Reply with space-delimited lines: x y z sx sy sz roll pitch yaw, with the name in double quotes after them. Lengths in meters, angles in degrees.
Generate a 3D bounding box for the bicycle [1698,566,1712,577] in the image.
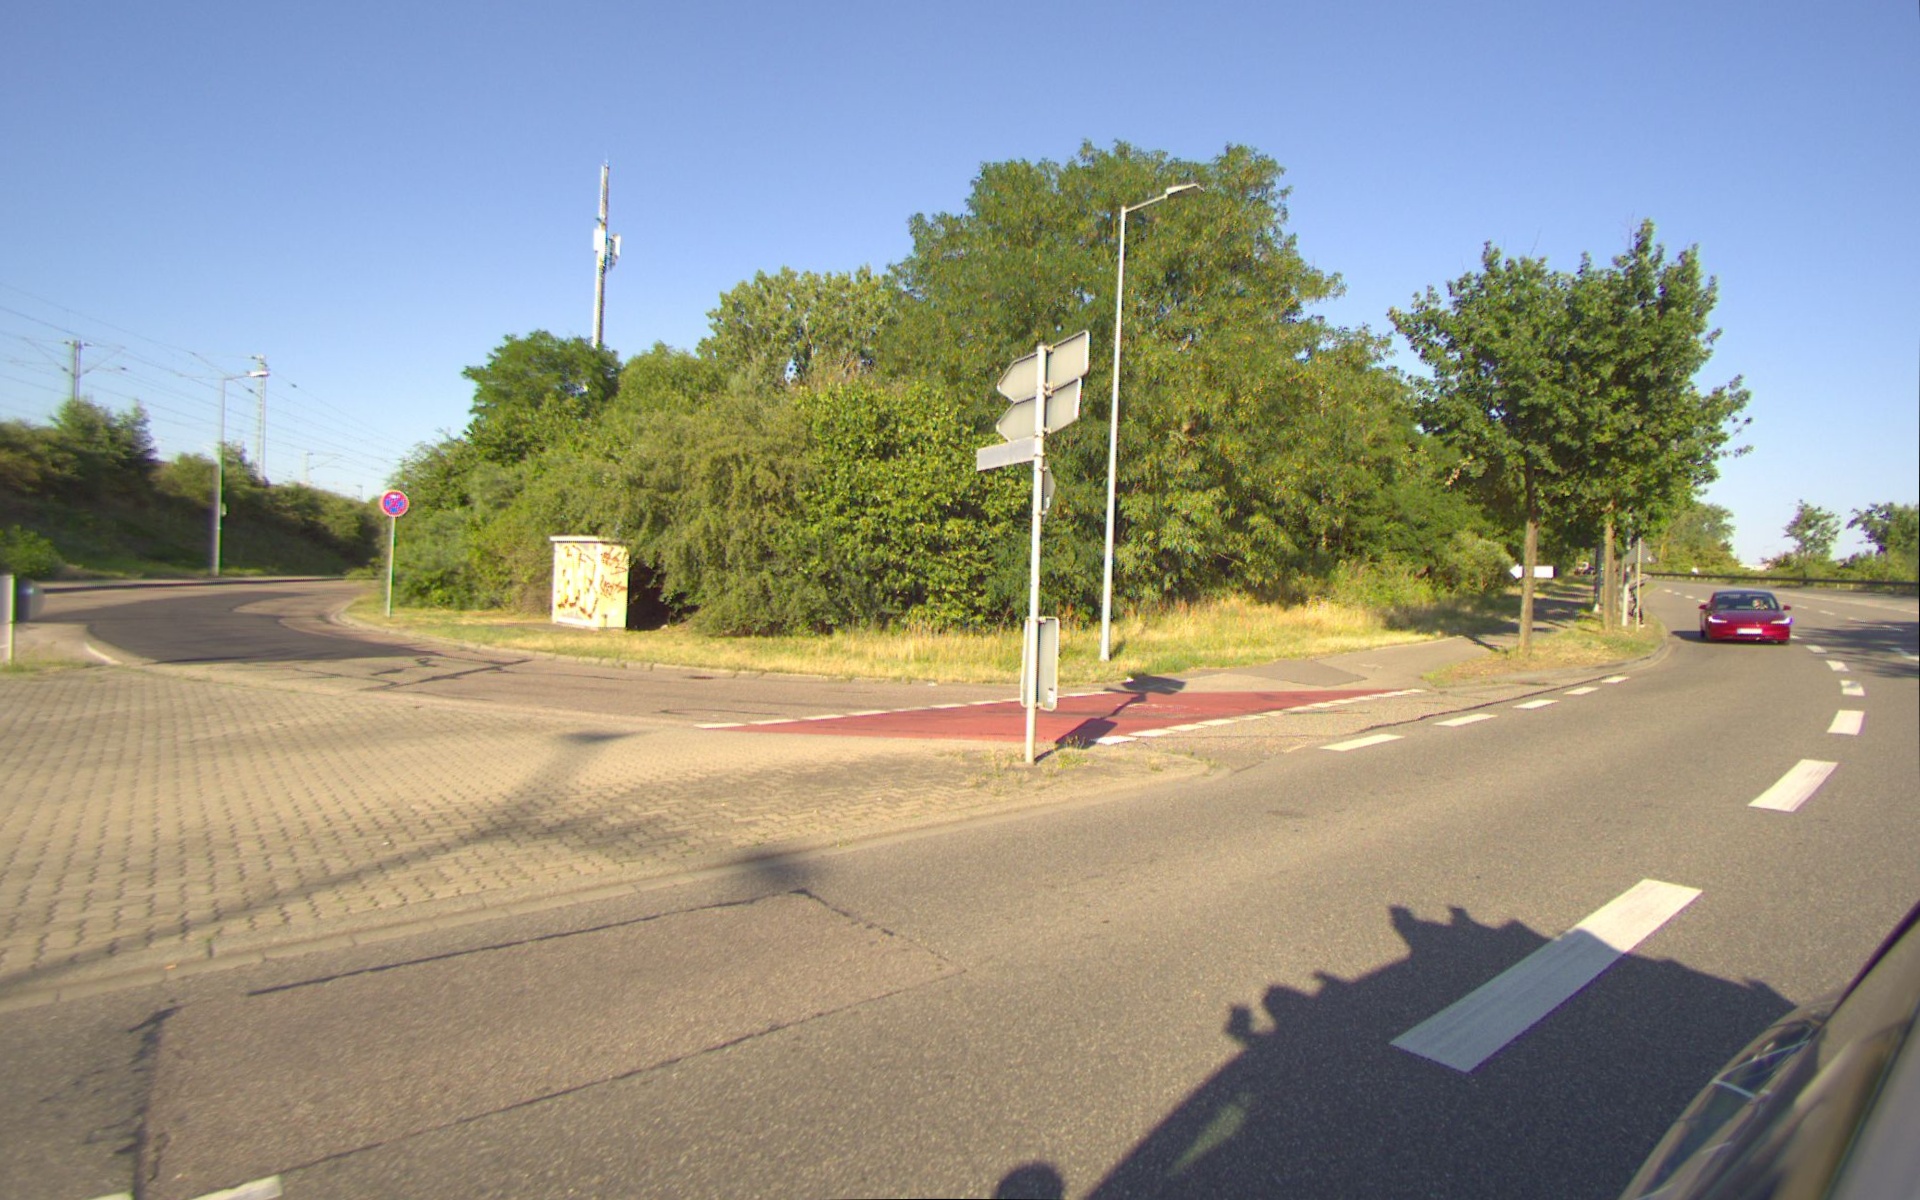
80.954 -3.074 110.014 0.577 1.089 2.297 4 4 22 "bicycle"

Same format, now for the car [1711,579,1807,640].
22.281 0.202 28.368 1.771 1.459 4.307 1 3 34 "car"

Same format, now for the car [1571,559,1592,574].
93.783 -5.091 152.814 1.862 2.038 5.222 0 3 23 "car"

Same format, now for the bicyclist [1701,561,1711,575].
80.824 -3.457 109.644 0.594 1.476 0.822 4 4 22 "bicyclist"
